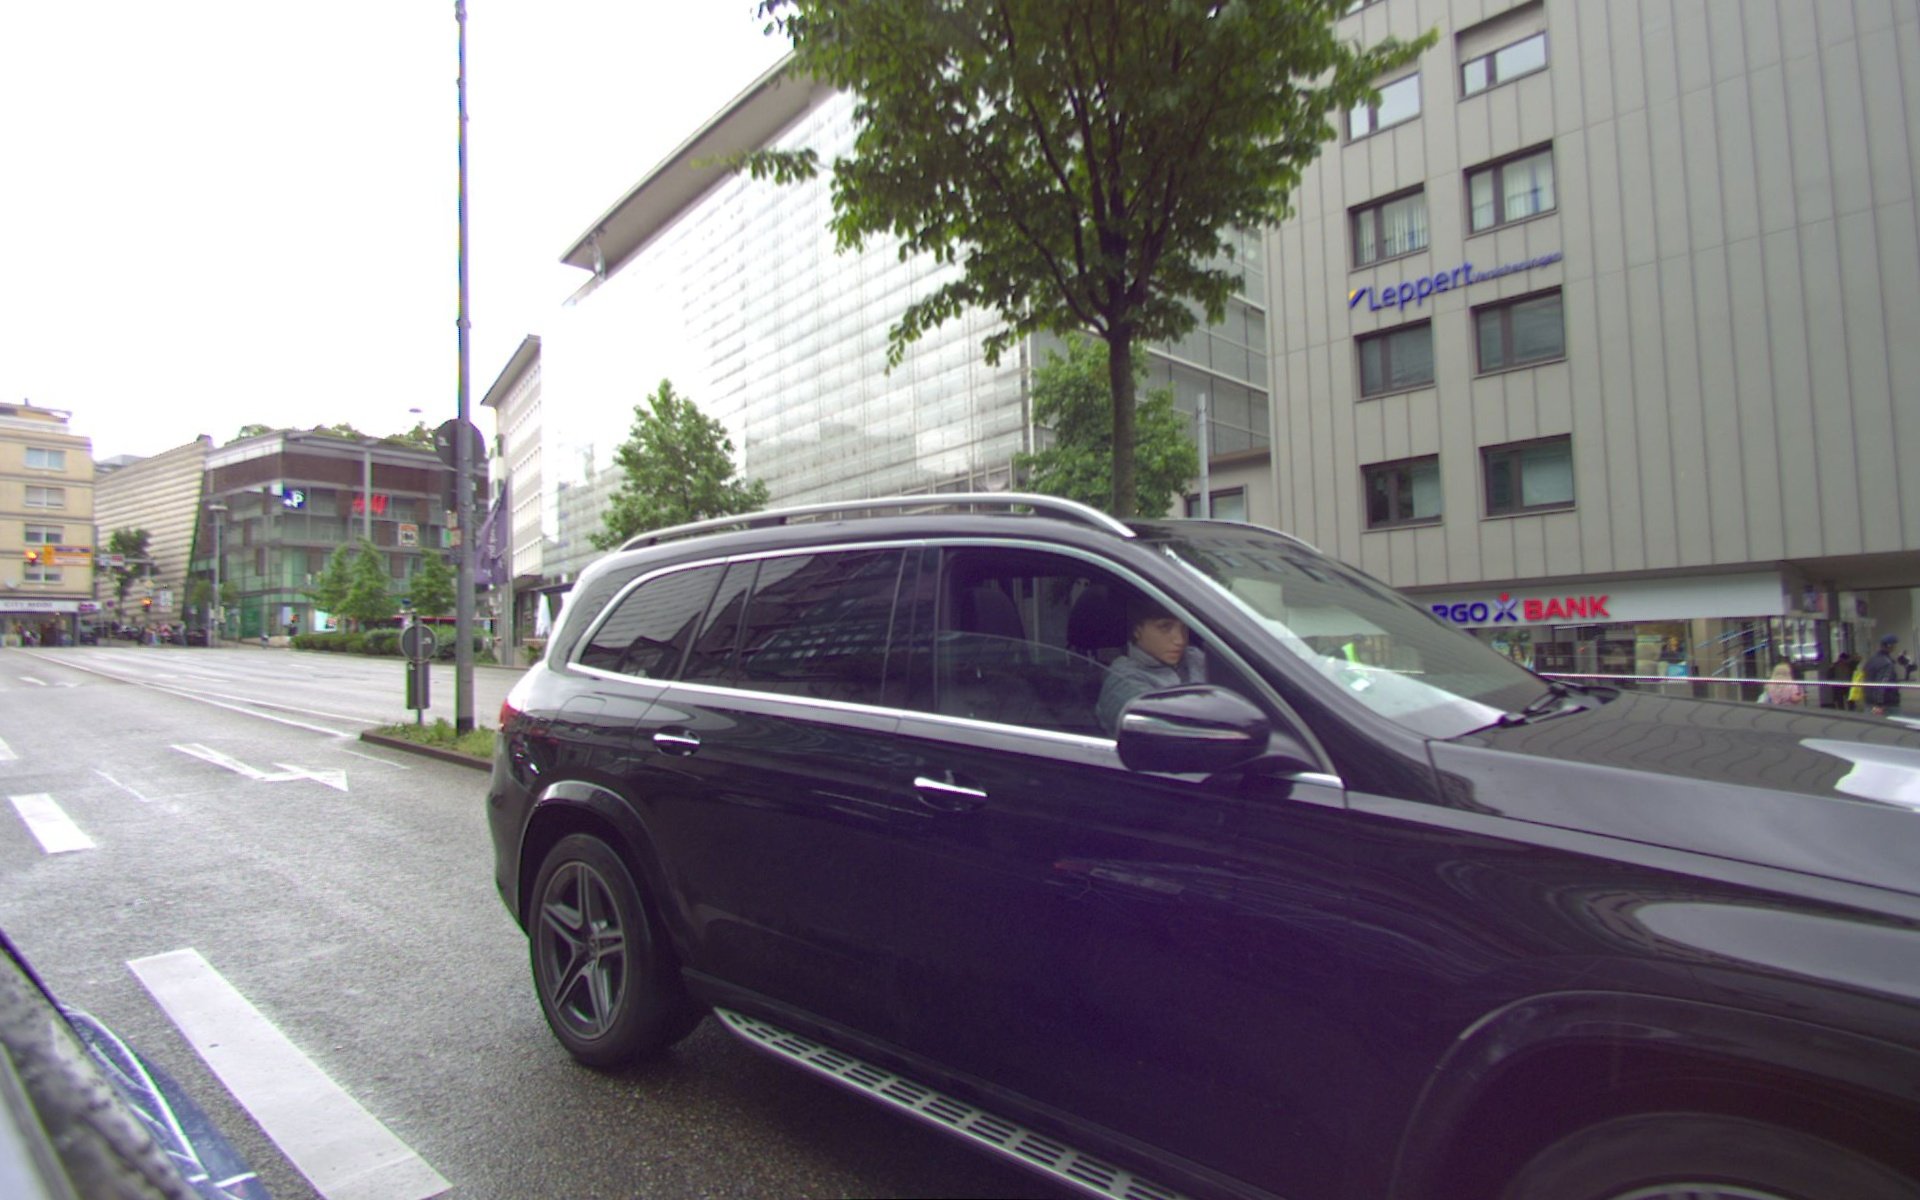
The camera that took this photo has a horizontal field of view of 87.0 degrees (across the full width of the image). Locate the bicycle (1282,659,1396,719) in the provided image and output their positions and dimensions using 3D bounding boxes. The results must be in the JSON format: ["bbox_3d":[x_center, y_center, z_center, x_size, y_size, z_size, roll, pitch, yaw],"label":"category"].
[{"bbox_3d":[7.056,1.641,18.889,1.933,1.008,0.610,0,-2,31],"label":"bicycle"}]

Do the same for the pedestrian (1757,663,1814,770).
[{"bbox_3d":[14.083,1.960,17.260,0.709,1.693,0.740,0,0,43],"label":"pedestrian"}]

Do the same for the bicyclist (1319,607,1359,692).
[{"bbox_3d":[7.091,0.918,18.931,0.607,1.542,0.627,-1,-3,31],"label":"bicyclist"}]

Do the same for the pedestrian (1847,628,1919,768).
[{"bbox_3d":[11.968,1.225,12.889,0.963,1.693,0.700,0,0,38],"label":"pedestrian"}]

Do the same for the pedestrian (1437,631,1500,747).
[{"bbox_3d":[8.291,1.428,16.522,0.543,1.797,0.752,0,0,-37],"label":"pedestrian"}]

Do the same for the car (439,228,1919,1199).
[{"bbox_3d":[0.487,0.521,2.955,5.072,1.884,1.891,0,0,42],"label":"car"}]
